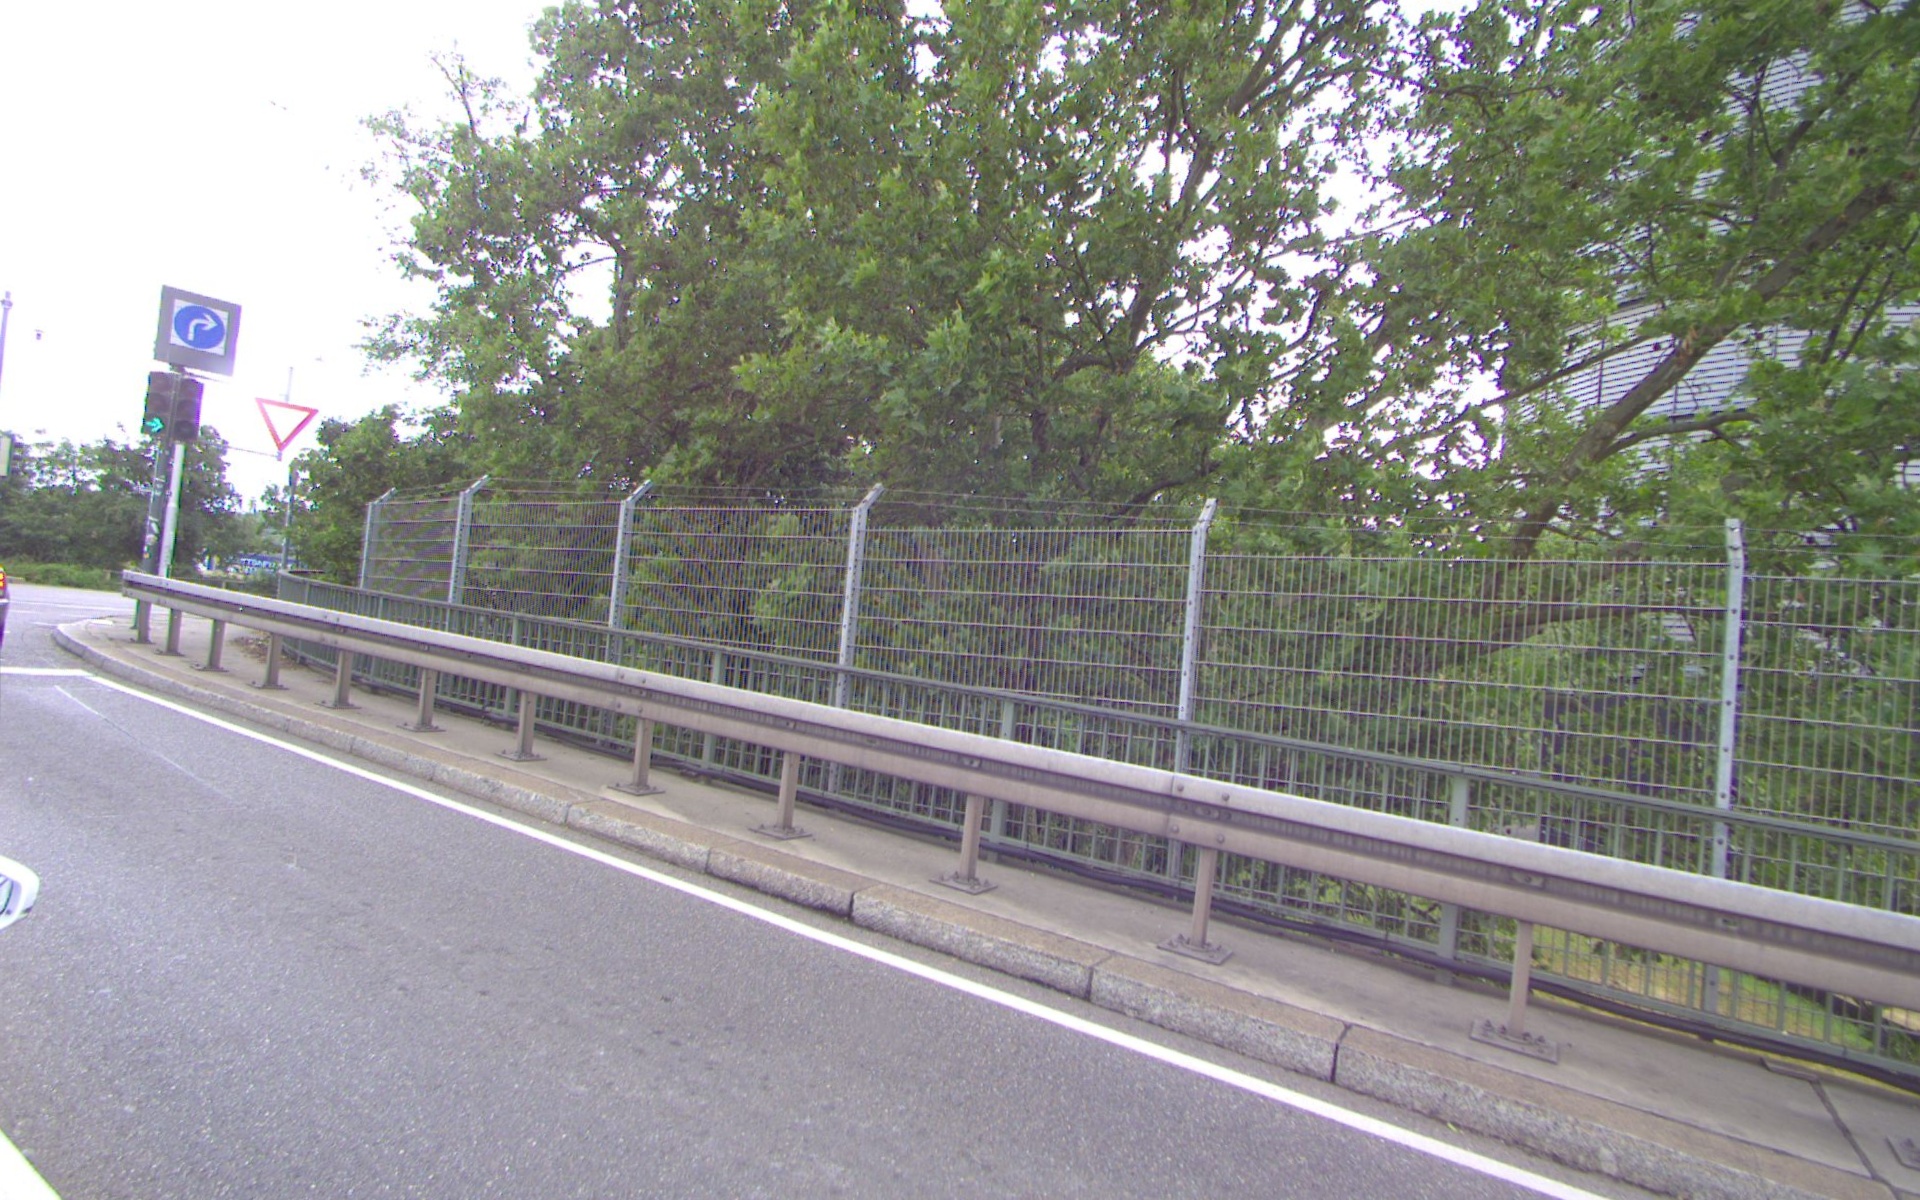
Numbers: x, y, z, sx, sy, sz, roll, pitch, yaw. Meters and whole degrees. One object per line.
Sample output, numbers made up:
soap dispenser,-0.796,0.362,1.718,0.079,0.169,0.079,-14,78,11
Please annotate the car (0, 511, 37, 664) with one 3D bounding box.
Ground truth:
car,-10.906,-0.318,10.192,3.390,1.448,1.586,6,-1,37
